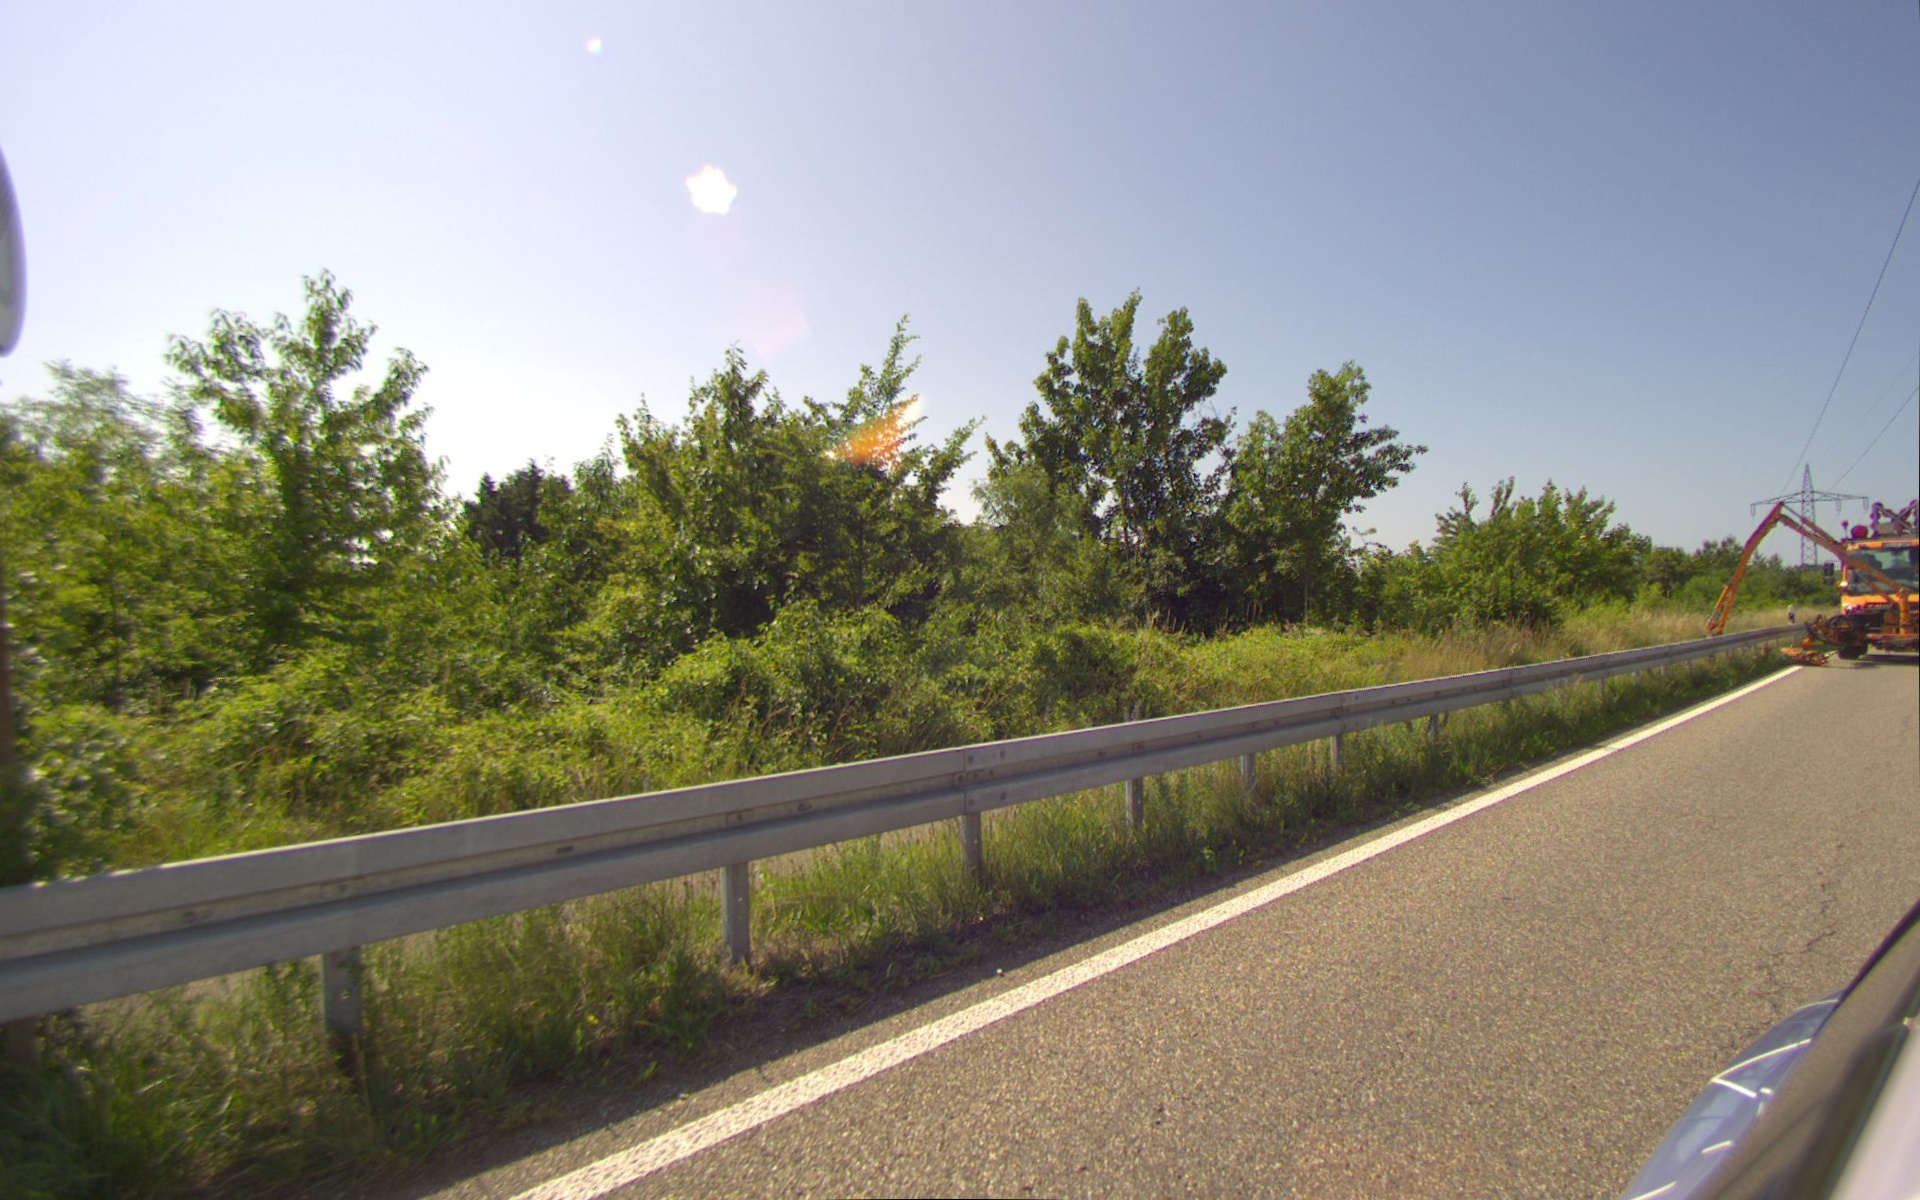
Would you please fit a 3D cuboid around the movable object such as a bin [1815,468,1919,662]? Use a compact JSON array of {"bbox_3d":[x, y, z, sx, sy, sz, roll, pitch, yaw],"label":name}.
[{"bbox_3d":[22.373,-0.700,23.774,2.754,3.888,9.291,0,0,45],"label":"movable object such as a bin"}]
